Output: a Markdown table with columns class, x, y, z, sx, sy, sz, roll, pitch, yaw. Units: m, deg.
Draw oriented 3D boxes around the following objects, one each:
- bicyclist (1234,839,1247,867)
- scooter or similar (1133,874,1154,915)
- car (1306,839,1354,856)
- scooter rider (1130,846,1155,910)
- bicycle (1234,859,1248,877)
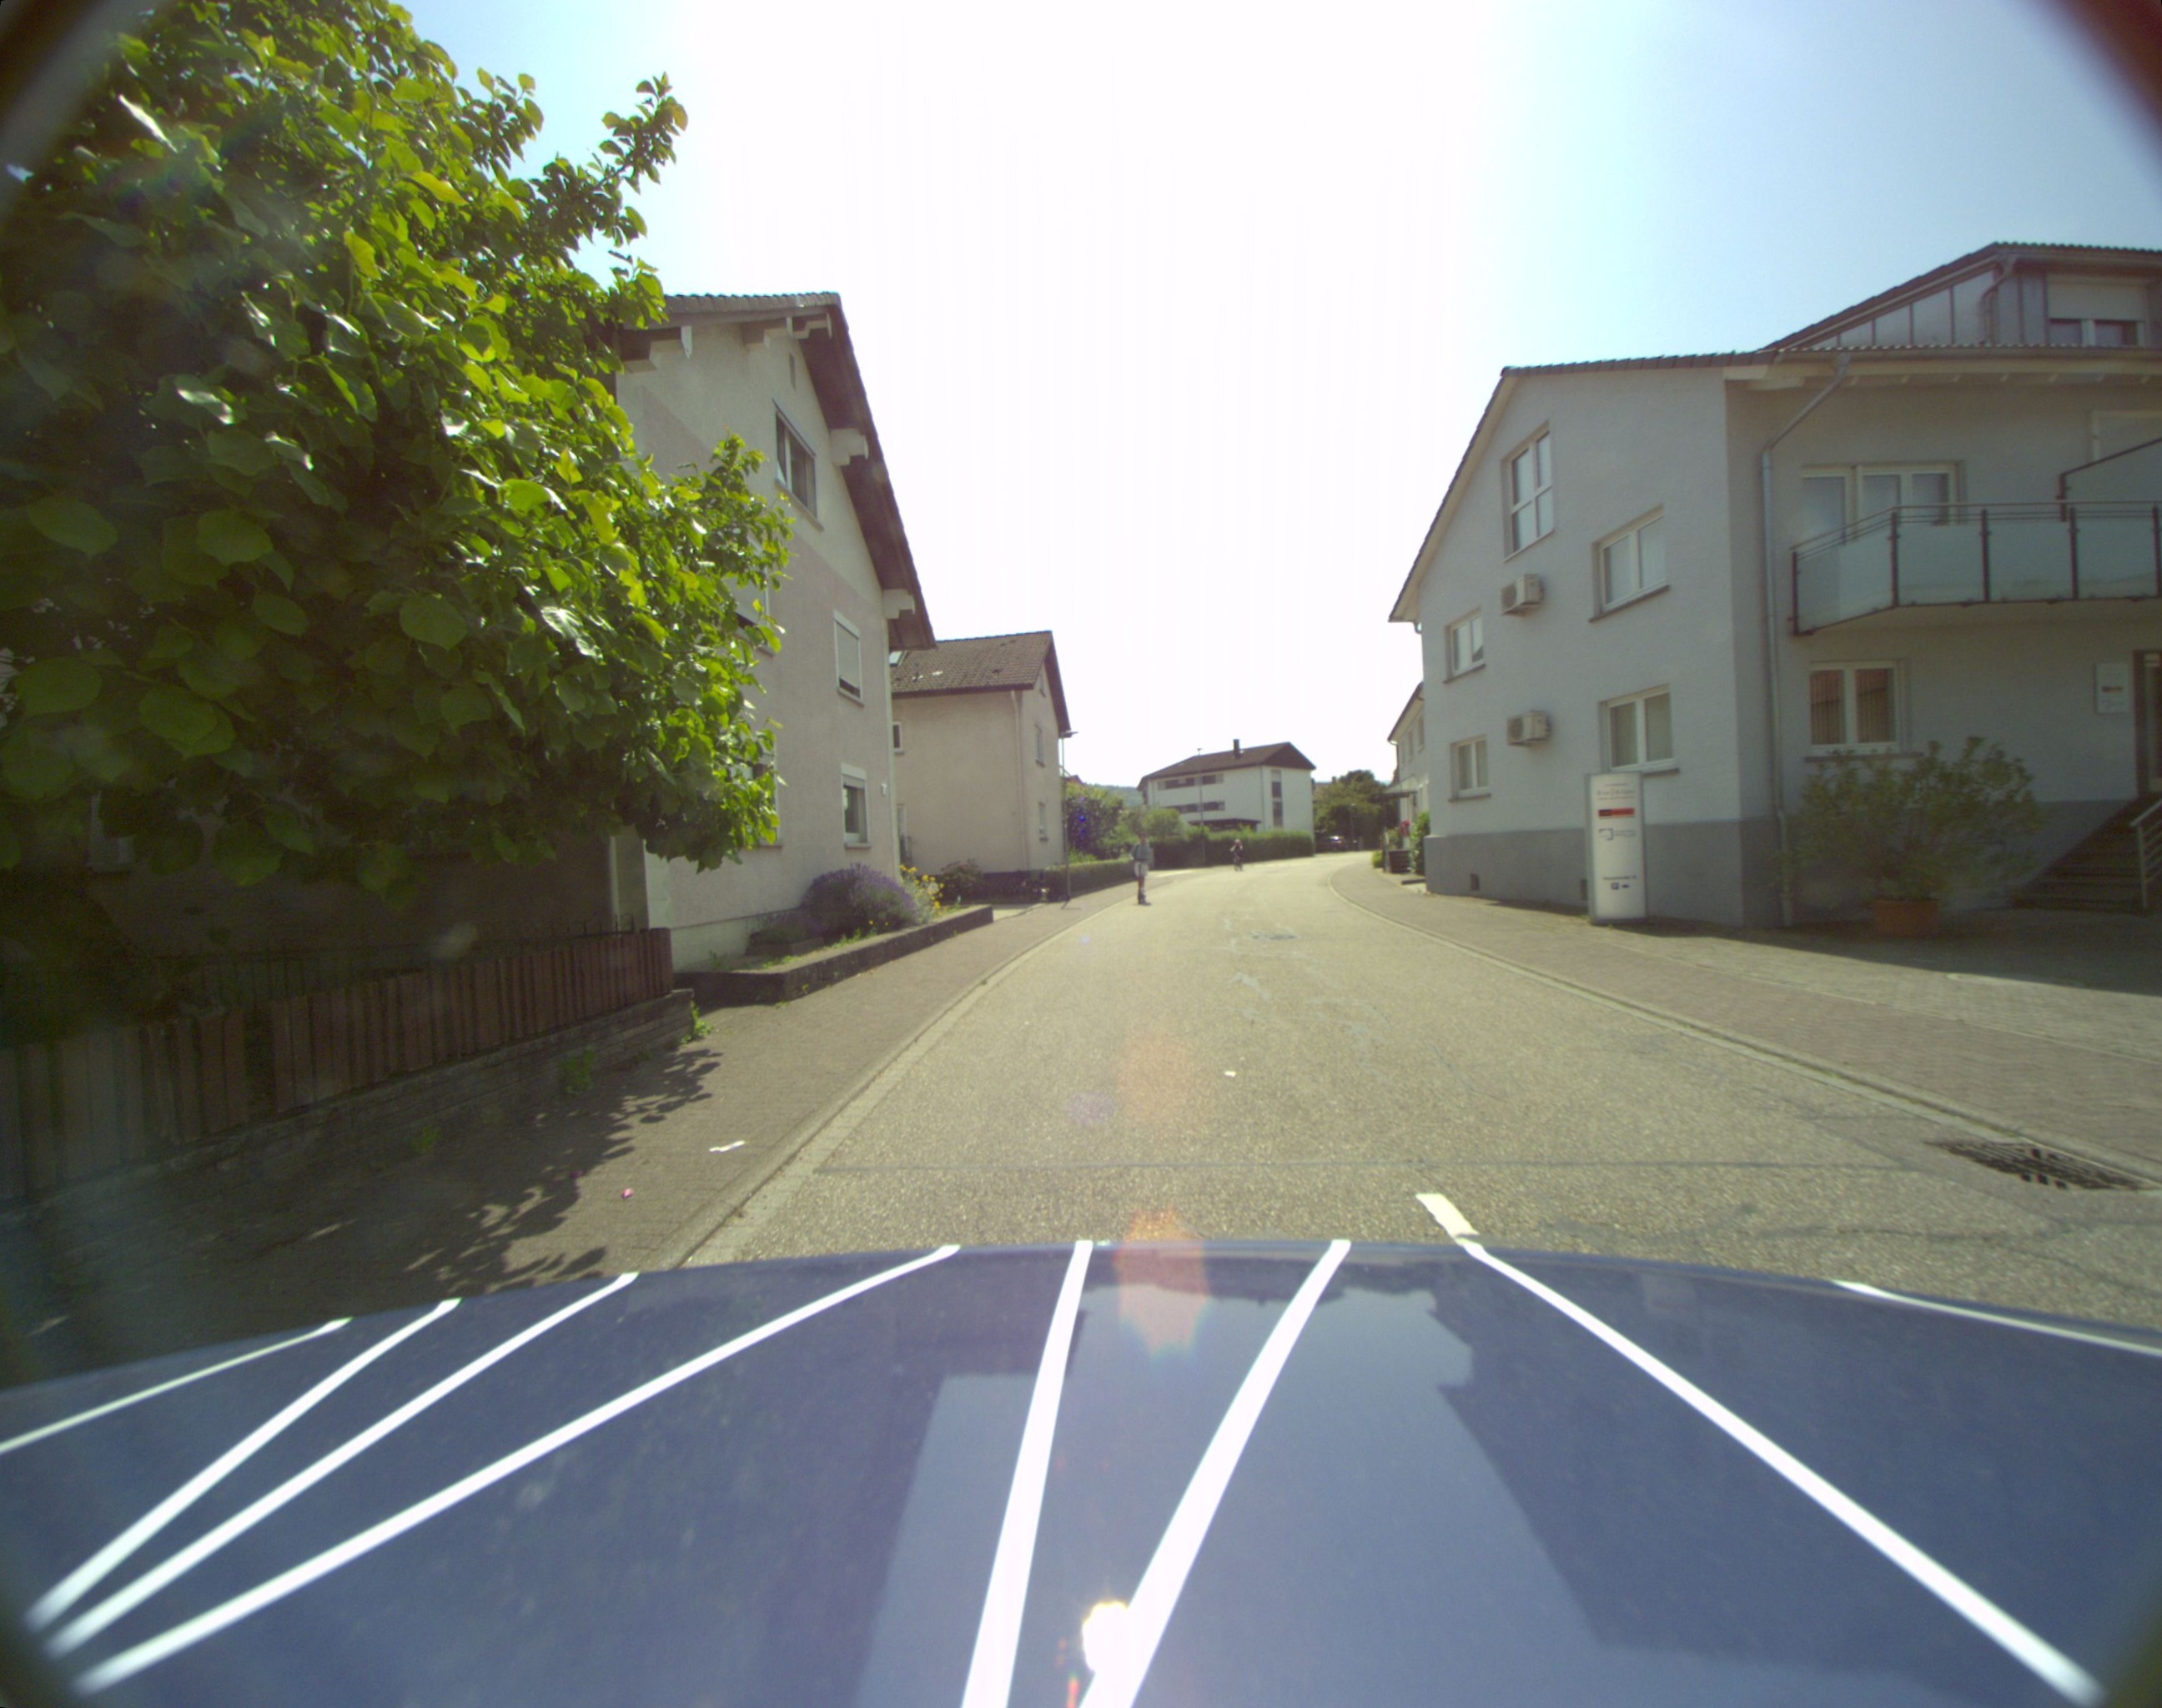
| class | x | y | z | sx | sy | sz | roll | pitch | yaw |
| --- | --- | --- | --- | --- | --- | --- | --- | --- | --- |
| bicyclist | 8.739 | -0.066 | 41.610 | 0.546 | 1.481 | 0.798 | -2 | 1 | 19 |
| scooter or similar | 1.726 | 1.111 | 20.995 | 0.542 | 1.083 | 0.691 | -2 | 1 | 4 |
| car | 25.713 | -0.646 | 78.446 | 4.280 | 1.662 | 2.069 | 0 | 2 | 38 |
| scooter rider | 1.700 | 0.640 | 20.991 | 0.617 | 1.714 | 0.640 | -2 | 1 | 4 |
| bicycle | 8.771 | 0.767 | 41.628 | 0.520 | 0.899 | 1.315 | -2 | 1 | 20 |
